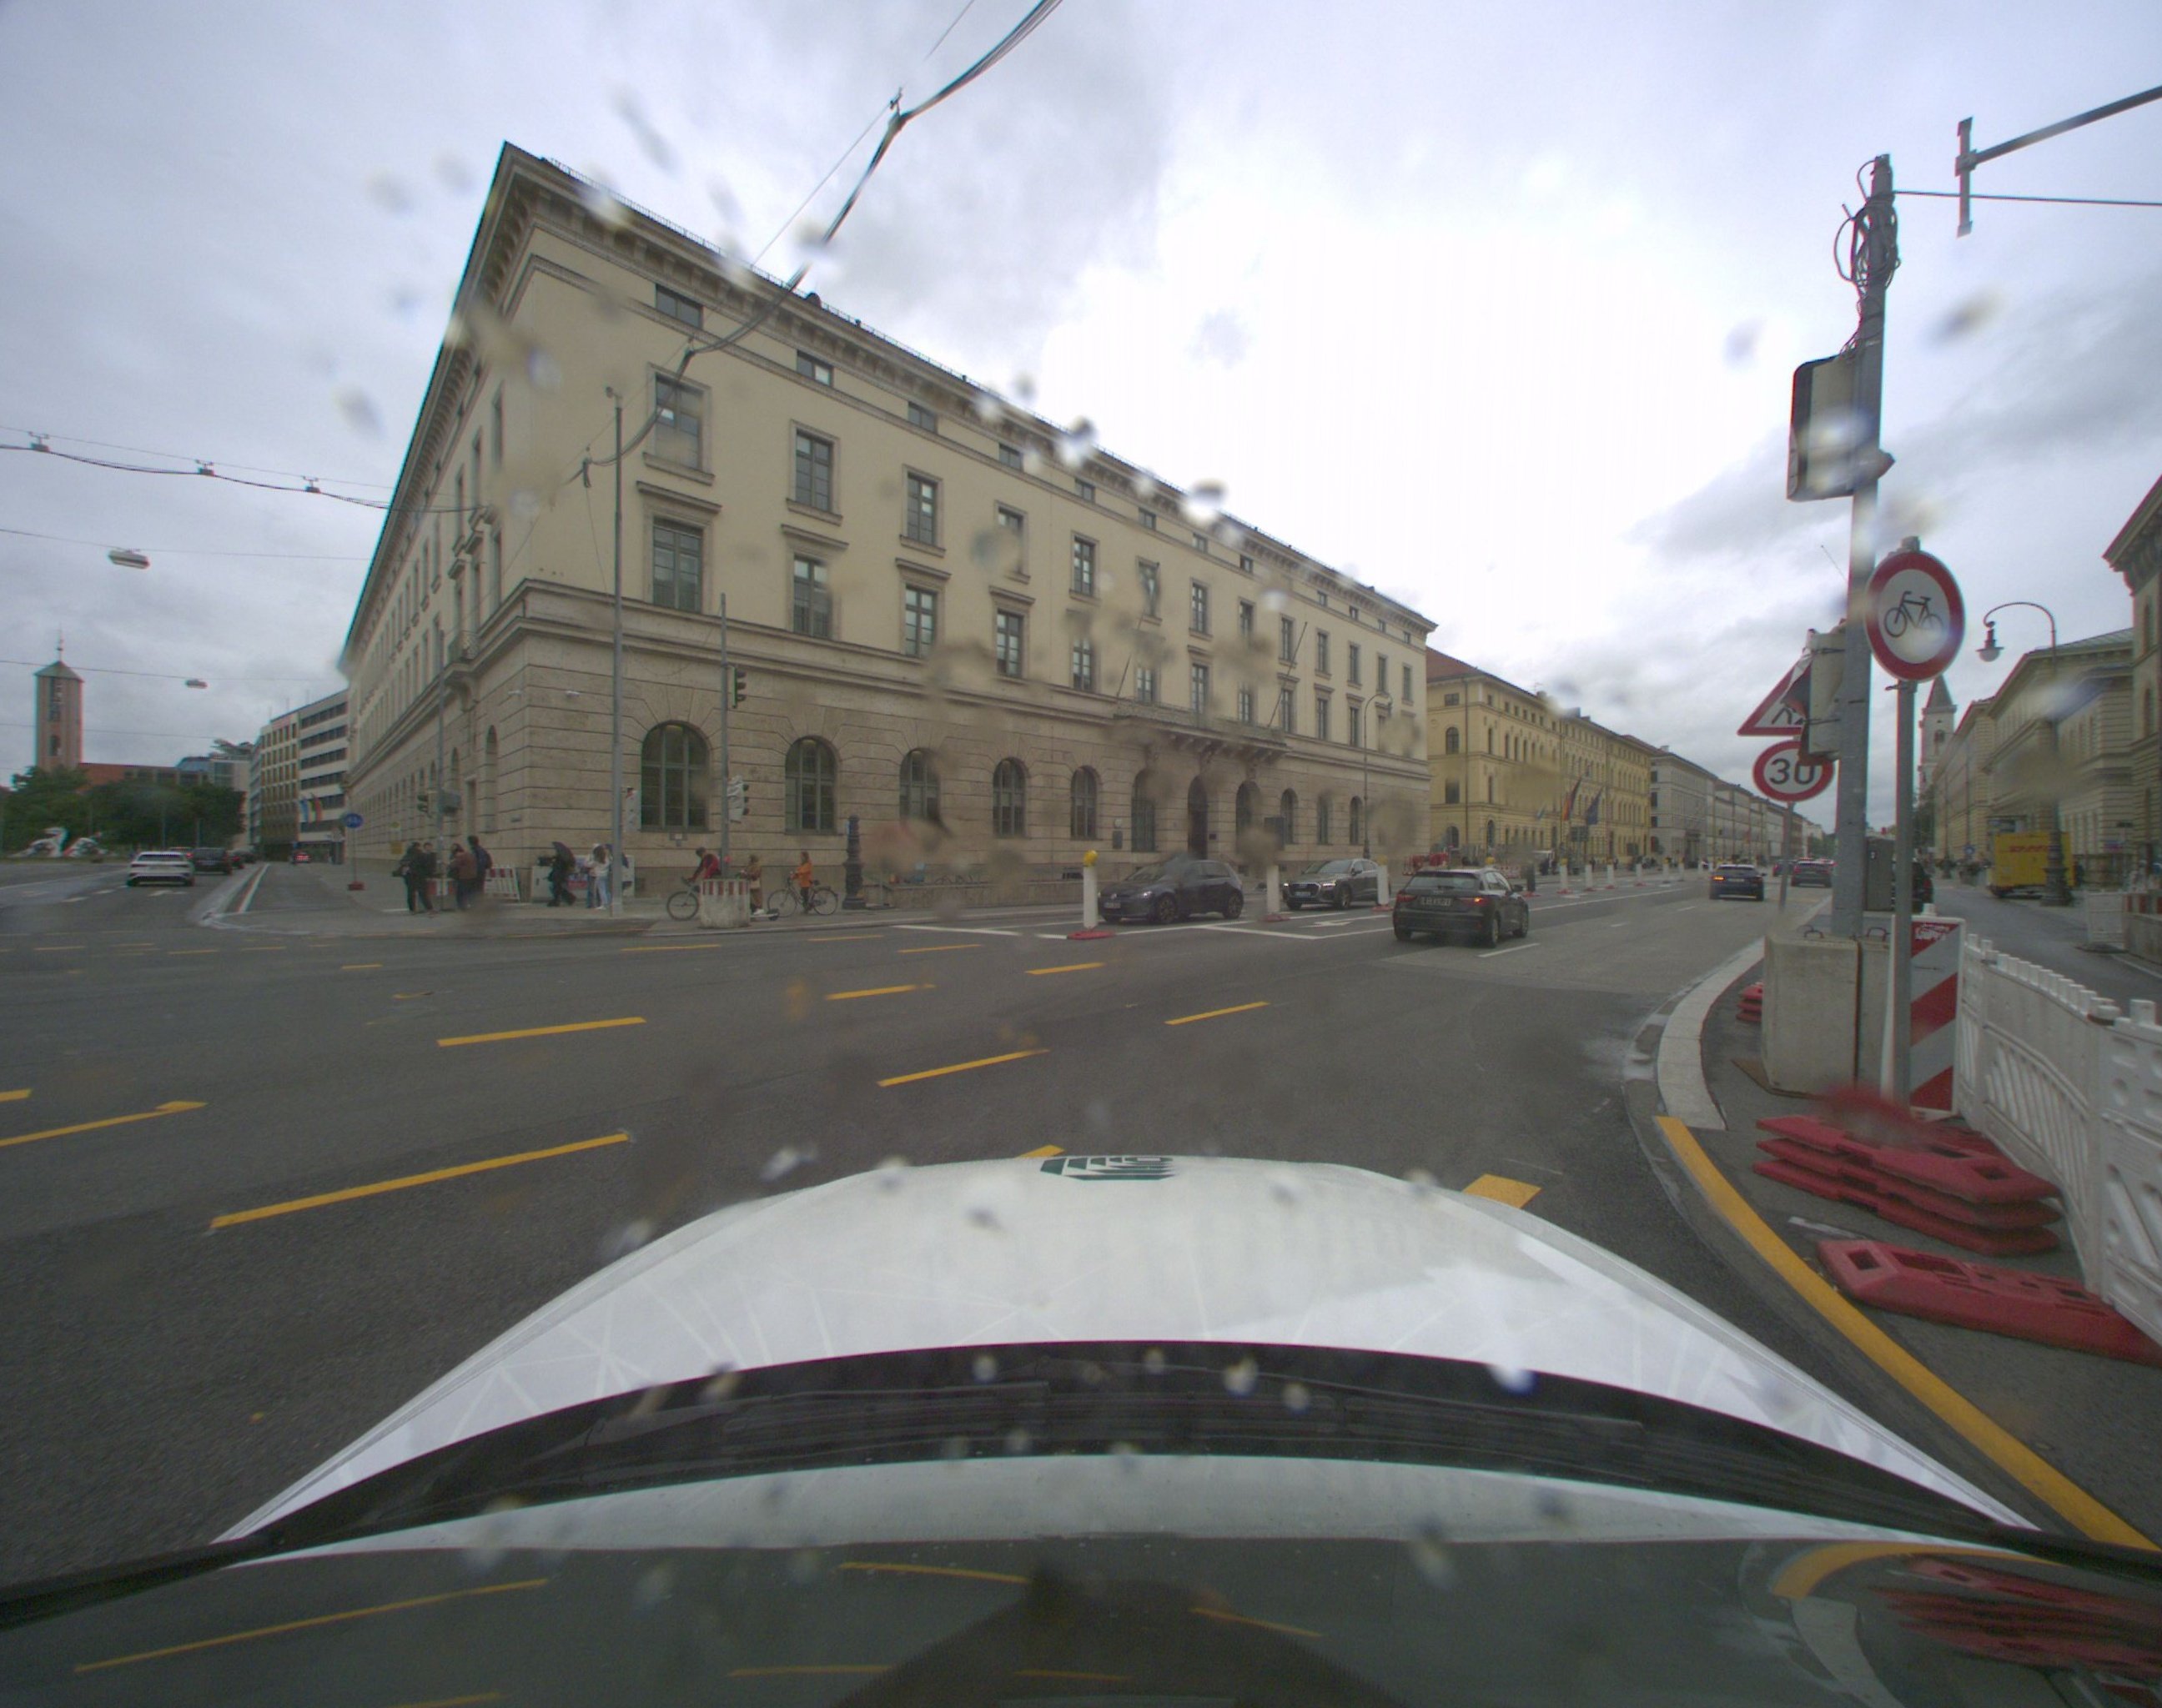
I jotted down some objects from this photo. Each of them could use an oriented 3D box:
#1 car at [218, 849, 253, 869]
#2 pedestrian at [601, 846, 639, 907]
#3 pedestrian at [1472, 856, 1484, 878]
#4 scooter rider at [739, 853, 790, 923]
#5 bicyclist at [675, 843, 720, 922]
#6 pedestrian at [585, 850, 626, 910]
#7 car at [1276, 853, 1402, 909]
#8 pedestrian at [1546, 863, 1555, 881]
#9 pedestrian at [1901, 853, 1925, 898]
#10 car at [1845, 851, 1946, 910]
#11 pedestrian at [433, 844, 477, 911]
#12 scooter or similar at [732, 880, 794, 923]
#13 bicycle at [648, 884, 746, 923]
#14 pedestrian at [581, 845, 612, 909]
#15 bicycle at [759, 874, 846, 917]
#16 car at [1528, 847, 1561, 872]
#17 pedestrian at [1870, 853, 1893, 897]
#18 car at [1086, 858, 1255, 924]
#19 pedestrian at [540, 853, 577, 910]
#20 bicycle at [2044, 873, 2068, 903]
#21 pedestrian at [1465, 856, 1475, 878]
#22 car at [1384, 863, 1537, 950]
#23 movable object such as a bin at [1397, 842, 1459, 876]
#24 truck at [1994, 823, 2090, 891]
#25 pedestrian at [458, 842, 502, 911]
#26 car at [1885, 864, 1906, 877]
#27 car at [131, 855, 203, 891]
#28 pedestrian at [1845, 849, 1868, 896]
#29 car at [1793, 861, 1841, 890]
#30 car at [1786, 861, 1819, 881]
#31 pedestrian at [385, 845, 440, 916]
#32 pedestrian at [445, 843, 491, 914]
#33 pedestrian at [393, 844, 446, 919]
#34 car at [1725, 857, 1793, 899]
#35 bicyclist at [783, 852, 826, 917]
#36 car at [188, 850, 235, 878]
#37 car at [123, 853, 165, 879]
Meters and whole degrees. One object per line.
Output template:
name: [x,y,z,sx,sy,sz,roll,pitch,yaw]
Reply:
car: [-67.357,0.384,64.886,3.803,1.601,1.882,0,0,44]
pedestrian: [-13.016,0.625,22.988,0.721,1.694,0.810,3,-2,-44]
pedestrian: [30.413,1.002,62.388,0.606,1.652,0.621,0,-2,42]
scooter rider: [-7.526,0.808,19.396,0.940,1.622,0.585,3,-2,-44]
bicyclist: [-9.160,0.678,19.462,0.750,1.842,0.652,3,-2,-42]
pedestrian: [-12.473,0.678,21.368,0.823,1.557,0.659,2,-2,-38]
car: [8.017,0.816,25.079,1.769,1.567,4.603,-3,-2,44]
pedestrian: [41.370,1.596,71.774,0.547,1.530,0.621,0,-2,42]
pedestrian: [32.184,0.820,31.501,0.544,1.702,0.610,3,-2,-42]
car: [25.623,0.788,25.771,2.049,1.661,4.248,2,0,42]
pedestrian: [-16.730,0.634,21.782,0.822,1.756,0.580,2,-1,-31]
scooter or similar: [-7.552,1.110,19.373,1.221,0.965,0.580,2,-2,-44]
bicycle: [-9.147,1.165,19.453,1.989,0.879,0.653,2,-1,-43]
pedestrian: [-12.975,0.619,21.814,0.621,1.672,0.536,2,-2,-38]
bicycle: [-7.169,1.066,21.025,1.975,1.040,0.785,2,-1,-43]
car: [44.731,0.575,78.503,4.022,2.289,1.723,2,-2,-44]
pedestrian: [31.612,0.823,32.171,0.544,1.702,0.610,3,-2,-42]
car: [2.217,0.848,19.331,1.727,1.388,4.265,-2,-3,44]
pedestrian: [-14.134,0.734,22.026,0.670,1.527,0.810,2,-2,-42]
bicycle: [34.718,1.222,28.992,1.658,1.022,0.514,2,-1,-38]
pedestrian: [29.980,0.965,62.771,0.547,1.676,0.621,0,-2,42]
car: [7.399,0.894,15.677,1.845,1.388,4.025,2,0,37]
movable object such as a bin: [22.522,0.381,52.676,6.009,2.014,1.497,2,-1,-45]
truck: [42.289,0.183,35.960,5.837,2.765,2.600,2,-1,-41]
pedestrian: [-15.766,0.583,21.385,0.584,1.756,0.816,2,-1,-14]
car: [104.469,2.141,104.480,4.022,1.579,1.843,2,-1,-45]
car: [-38.936,0.792,34.776,4.396,1.425,1.829,0,-2,44]
pedestrian: [31.156,0.732,32.710,0.544,1.875,0.610,3,-2,-41]
car: [45.977,1.312,50.839,4.023,1.772,1.975,1,-1,-45]
car: [66.407,1.533,74.955,4.023,1.772,1.975,1,-1,-45]
pedestrian: [-17.006,0.670,20.726,0.579,1.756,0.823,1,-1,15]
pedestrian: [-15.431,0.617,20.528,0.584,1.756,0.816,2,-1,-14]
pedestrian: [-15.978,0.662,19.693,0.822,1.756,0.673,2,-1,-29]
car: [27.827,0.986,33.382,4.022,1.617,1.753,2,-1,-44]
bicyclist: [-7.144,0.780,21.051,0.750,1.615,0.785,2,-2,-42]
car: [-53.063,0.588,49.758,3.803,1.601,1.882,0,0,44]
car: [-77.030,0.966,67.001,3.950,2.014,2.012,0,0,44]
